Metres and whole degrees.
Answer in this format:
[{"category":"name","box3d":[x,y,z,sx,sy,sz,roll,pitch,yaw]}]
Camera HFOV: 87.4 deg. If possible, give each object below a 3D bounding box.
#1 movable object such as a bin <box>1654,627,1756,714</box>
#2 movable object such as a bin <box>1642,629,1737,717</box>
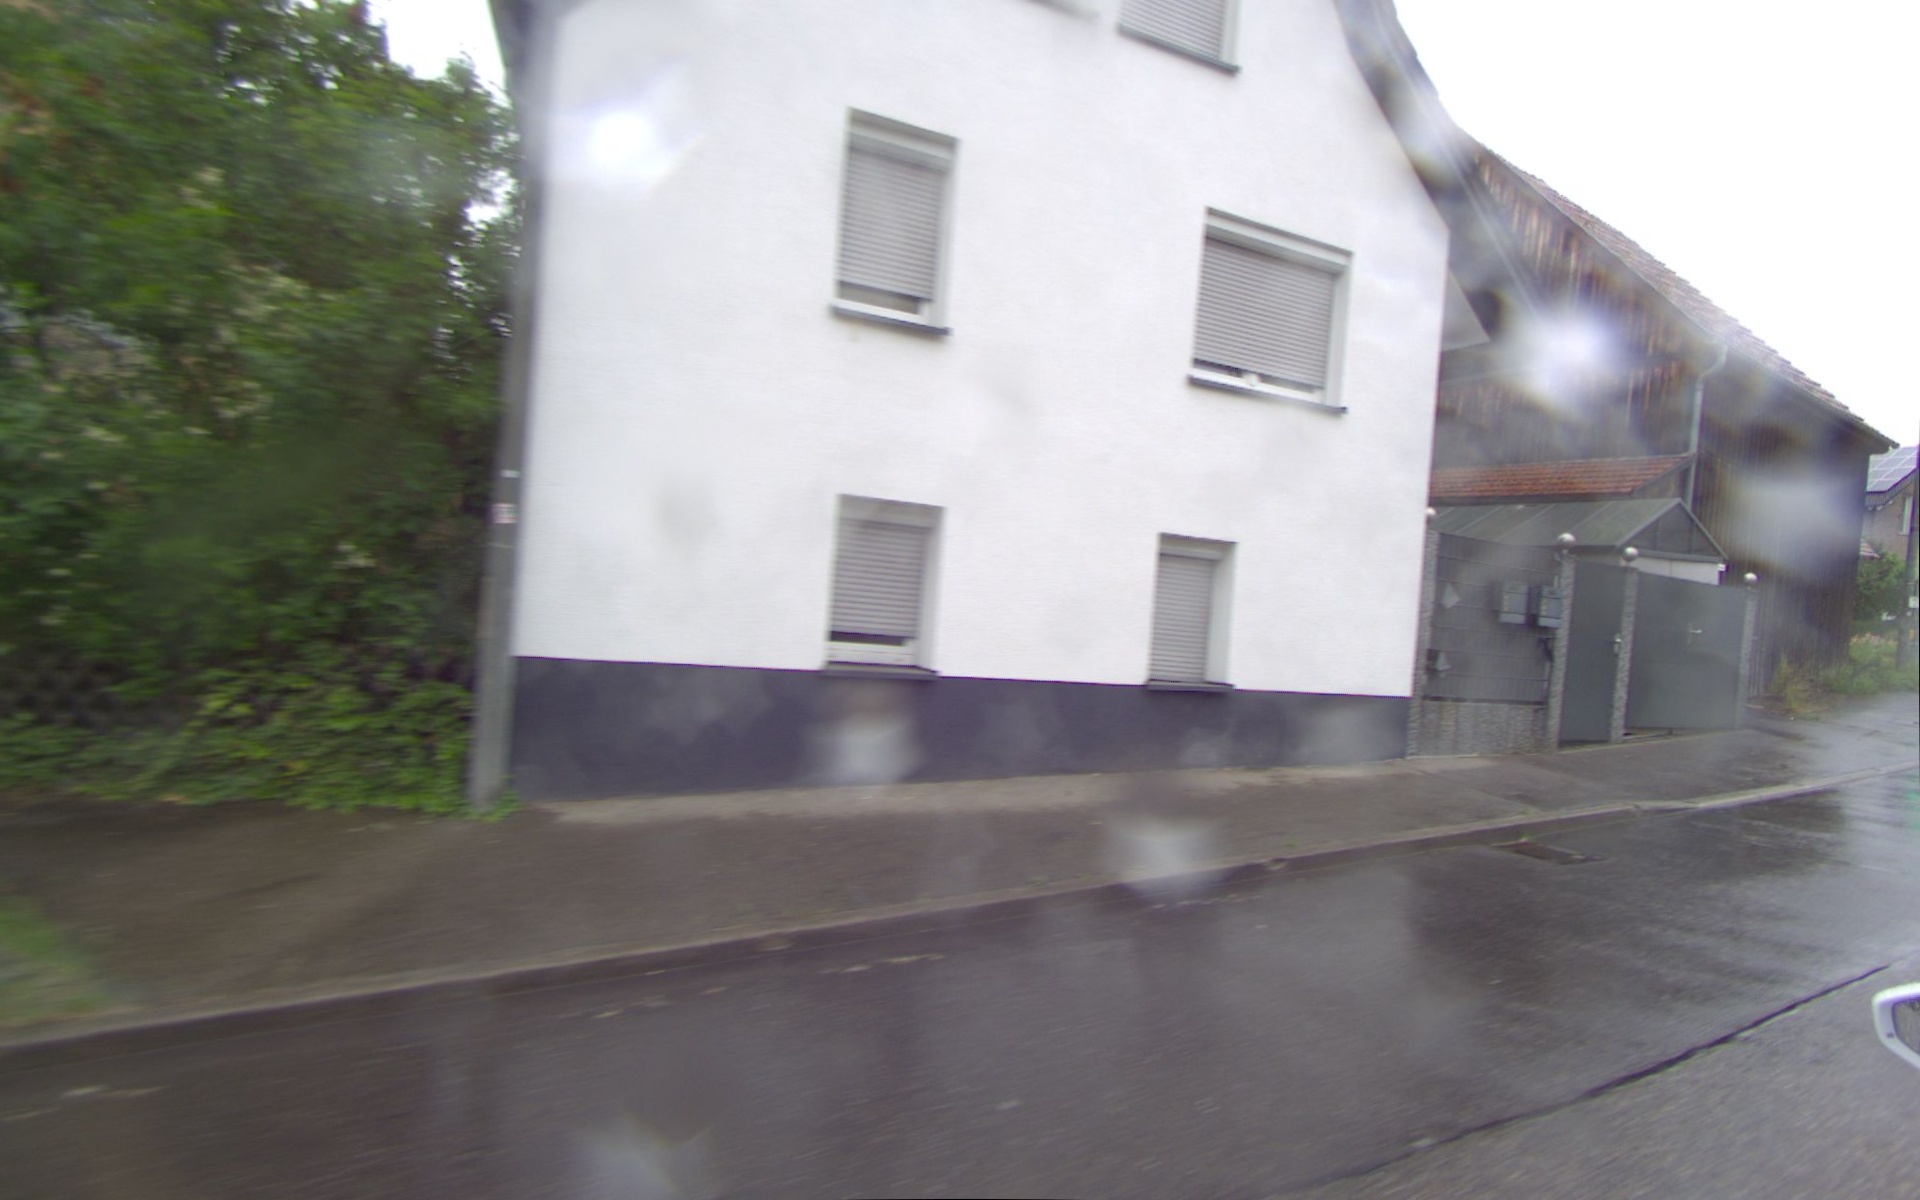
[{"category":"movable object such as a bin","box3d":[10.337,0.965,13.947,0.644,1.092,0.892,3,3,-32]},{"category":"movable object such as a bin","box3d":[9.807,0.969,13.515,0.590,1.075,0.812,2,2,-32]}]
